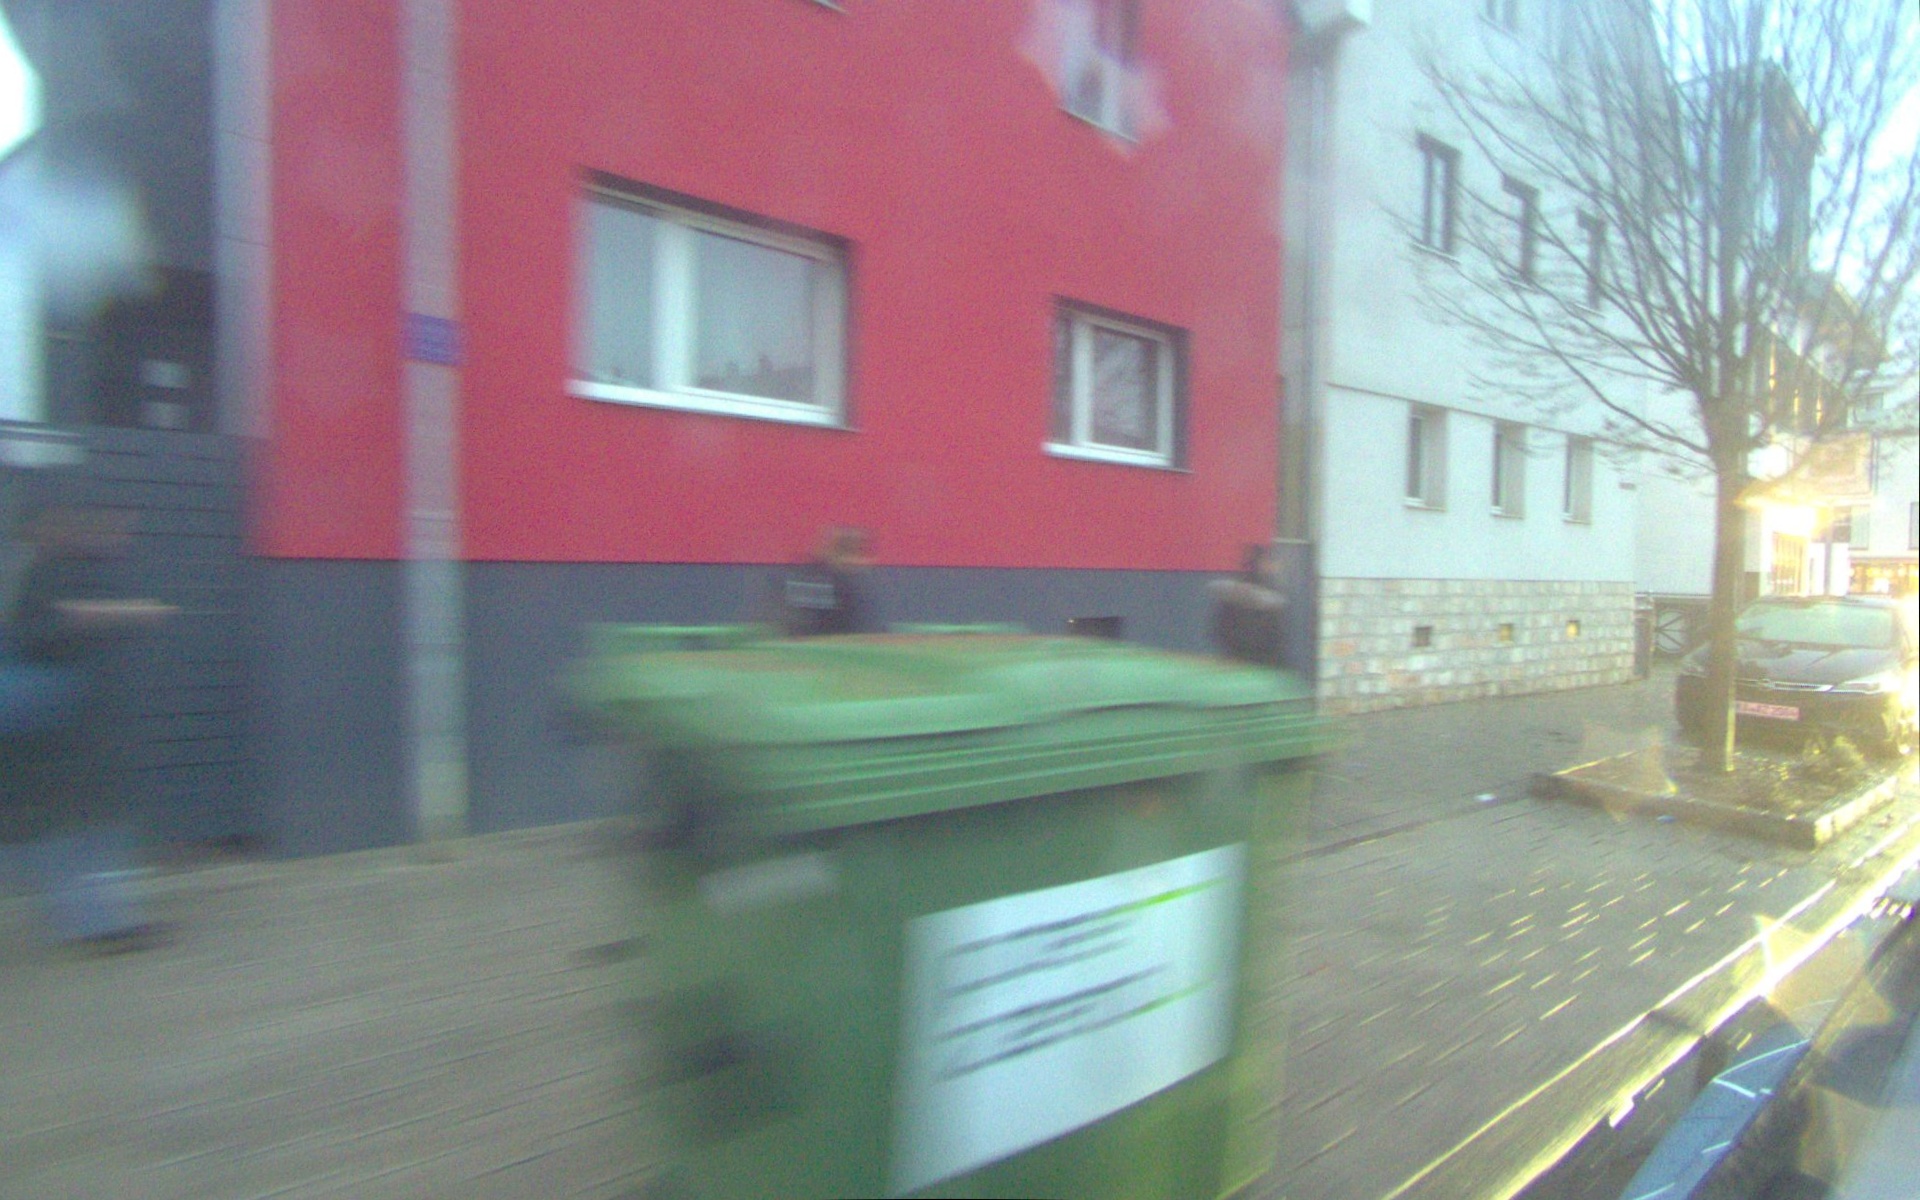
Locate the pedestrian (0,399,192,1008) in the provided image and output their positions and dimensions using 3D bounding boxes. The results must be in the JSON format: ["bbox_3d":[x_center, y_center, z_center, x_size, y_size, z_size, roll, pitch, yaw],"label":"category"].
[{"bbox_3d":[-3.042,0.306,3.238,0.847,1.823,0.531,1,0,-29],"label":"pedestrian"}]

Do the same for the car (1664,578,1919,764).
[{"bbox_3d":[9.128,0.596,10.496,4.121,1.482,1.734,0,4,-37],"label":"car"}]

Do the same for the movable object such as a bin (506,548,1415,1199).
[{"bbox_3d":[-0.029,0.664,2.061,1.391,1.437,1.133,1,4,-37],"label":"movable object such as a bin"}]

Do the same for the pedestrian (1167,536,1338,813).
[{"bbox_3d":[1.915,0.438,6.614,0.935,1.673,0.531,-3,1,-29],"label":"pedestrian"}]

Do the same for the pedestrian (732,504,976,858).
[{"bbox_3d":[-0.578,0.376,5.448,1.031,1.699,0.750,1,2,-33],"label":"pedestrian"}]
